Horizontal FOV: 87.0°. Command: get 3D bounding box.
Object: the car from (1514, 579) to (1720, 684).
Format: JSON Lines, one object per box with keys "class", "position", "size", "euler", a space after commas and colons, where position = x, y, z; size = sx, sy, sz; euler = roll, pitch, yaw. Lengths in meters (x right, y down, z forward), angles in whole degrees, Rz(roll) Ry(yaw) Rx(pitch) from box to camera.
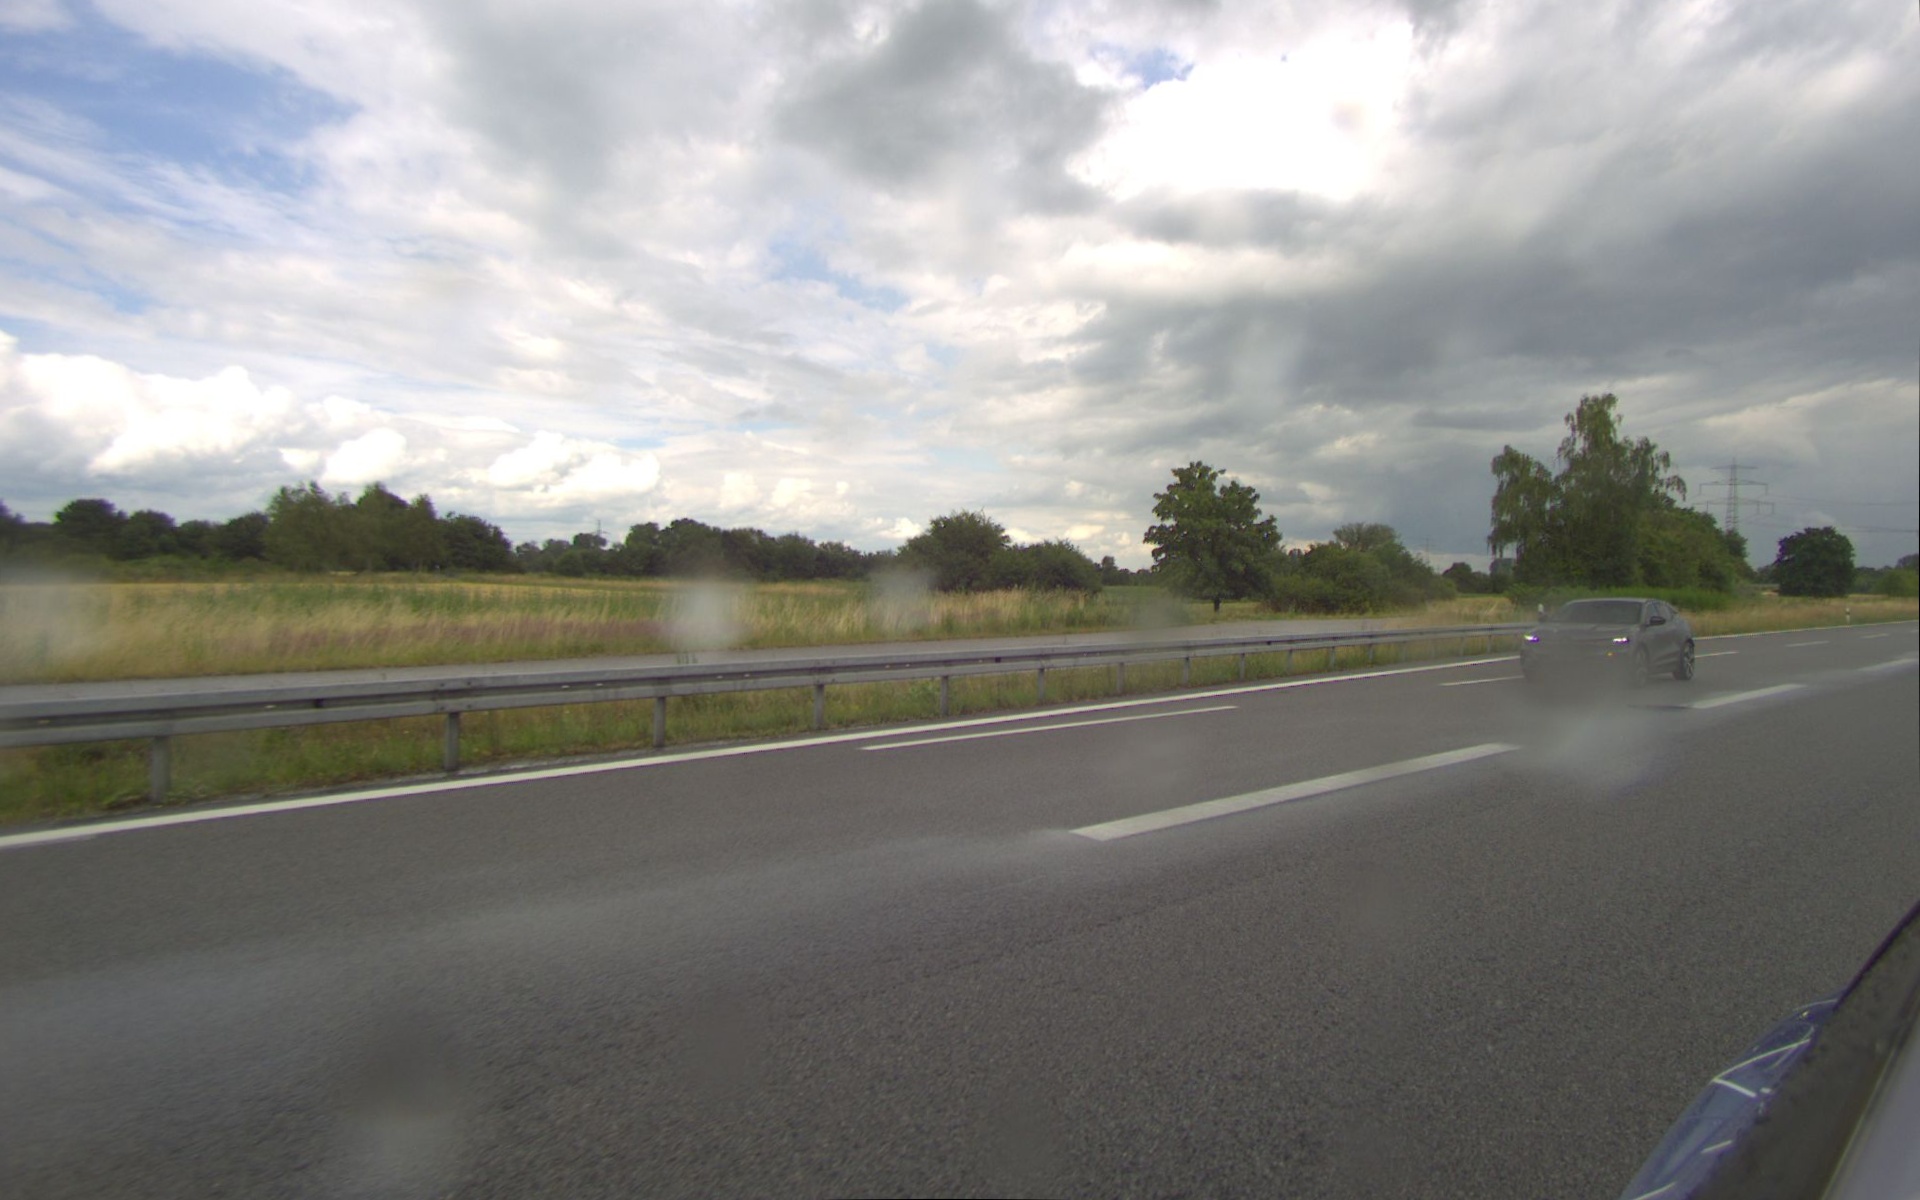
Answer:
{"class": "car", "position": [11.943, 0.466, 18.270], "size": [4.550, 1.662, 1.997], "euler": [0, 1, -42]}
